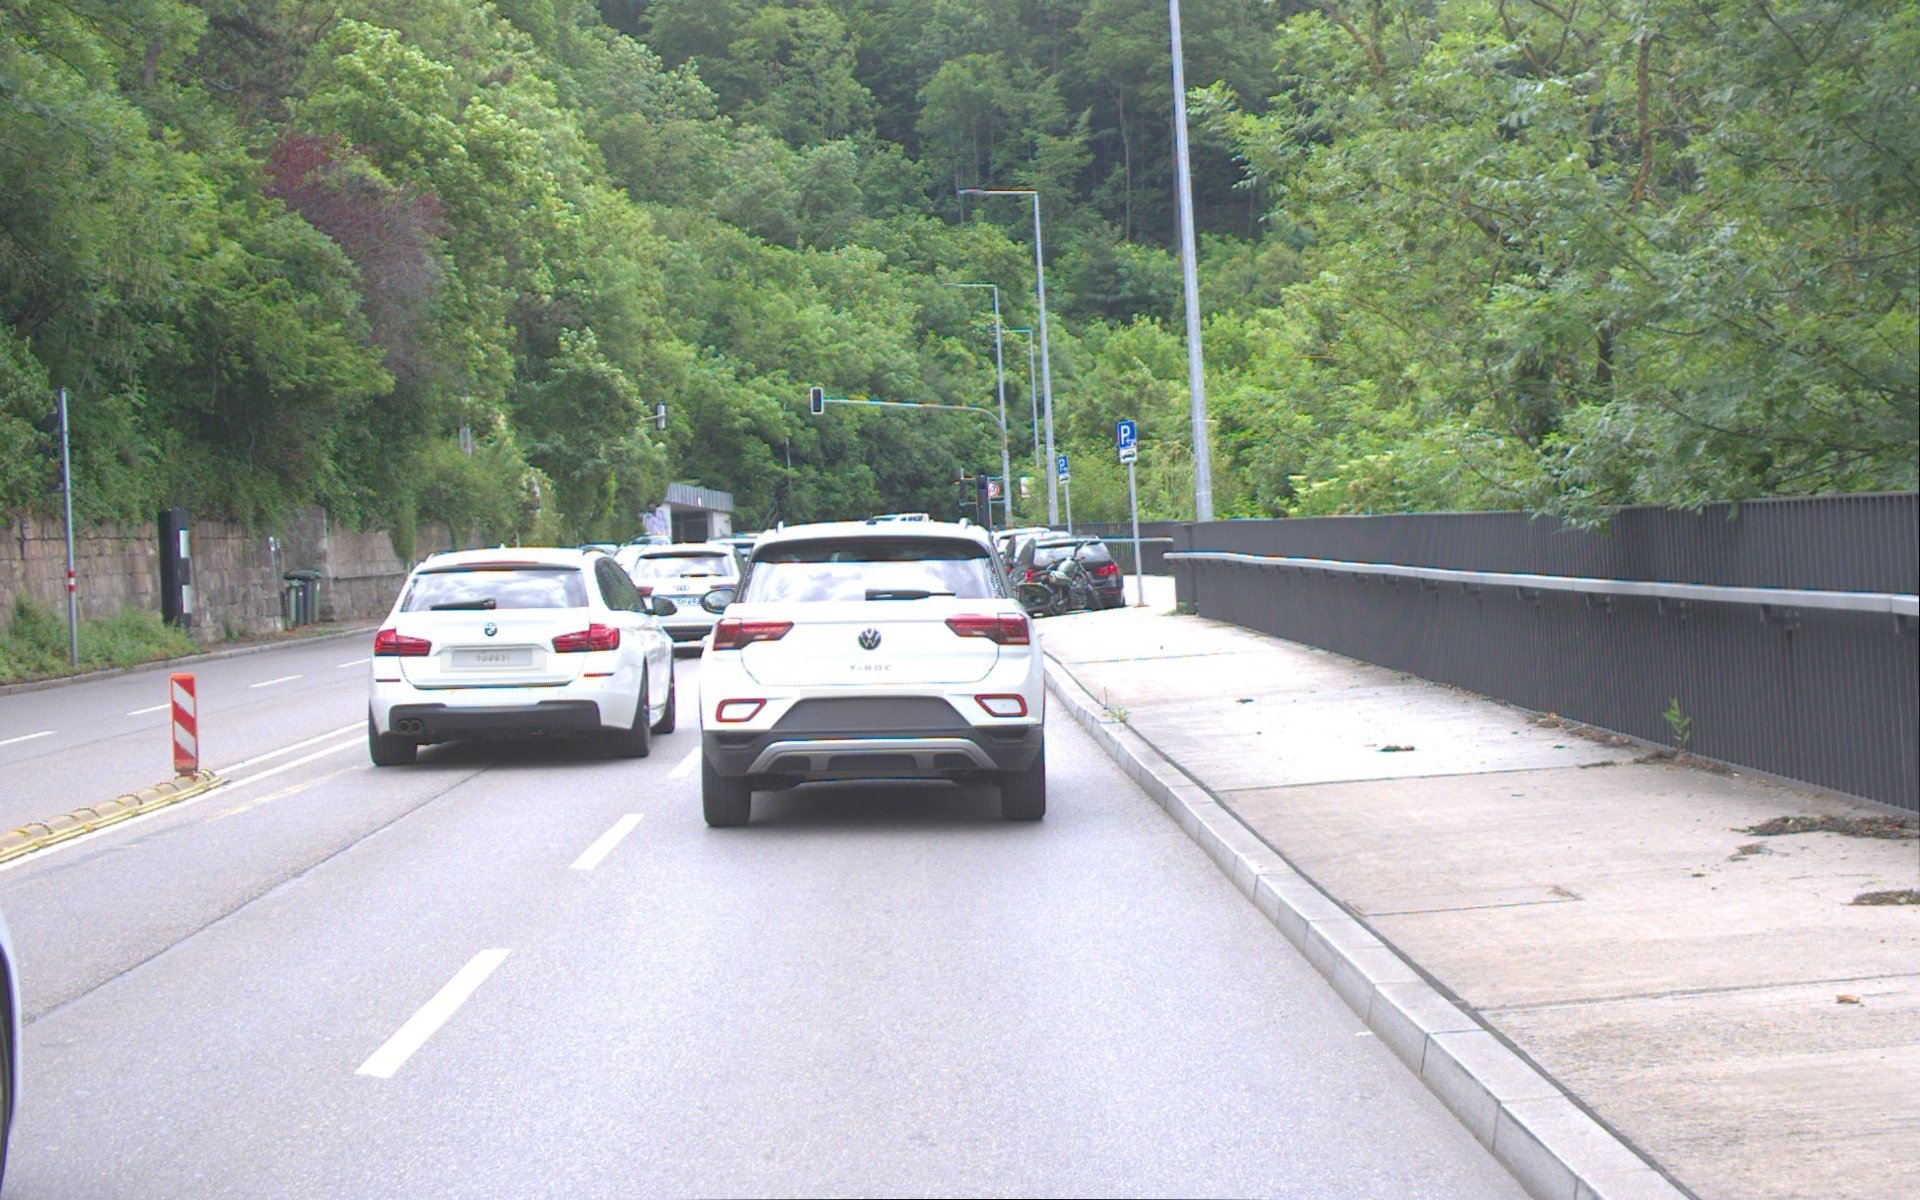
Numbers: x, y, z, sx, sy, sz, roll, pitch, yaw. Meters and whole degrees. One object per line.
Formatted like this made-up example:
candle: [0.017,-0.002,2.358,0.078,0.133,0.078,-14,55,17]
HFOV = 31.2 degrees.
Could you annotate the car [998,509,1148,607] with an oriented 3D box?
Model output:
car: [1.809,-0.692,56.251,1.814,1.503,4.001,-1,1,-7]

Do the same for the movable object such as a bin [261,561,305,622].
movable object such as a bin: [-13.372,-0.176,67.931,0.717,1.171,0.675,-1,1,0]

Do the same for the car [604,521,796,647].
car: [-3.384,-0.253,45.631,1.993,1.498,4.667,-2,2,2]

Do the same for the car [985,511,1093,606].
car: [1.536,-0.852,68.358,1.993,1.712,4.114,-1,2,-1]

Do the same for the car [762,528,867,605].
car: [-3.178,-0.754,75.740,1.993,1.498,4.668,-2,2,1]

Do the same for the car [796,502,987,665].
car: [-0.748,-0.238,40.204,1.993,1.712,4.114,-3,1,1]

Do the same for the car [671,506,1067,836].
car: [-0.387,0.315,18.893,1.828,1.600,4.000,-1,1,3]

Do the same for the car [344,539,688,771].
car: [-3.060,0.318,24.579,1.828,1.454,4.486,-2,1,0]

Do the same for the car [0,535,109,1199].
car: [-2.949,0.683,5.839,1.821,1.575,4.356,-1,0,1]

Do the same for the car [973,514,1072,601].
car: [1.319,-0.945,74.203,1.993,1.712,4.114,-1,2,-1]
